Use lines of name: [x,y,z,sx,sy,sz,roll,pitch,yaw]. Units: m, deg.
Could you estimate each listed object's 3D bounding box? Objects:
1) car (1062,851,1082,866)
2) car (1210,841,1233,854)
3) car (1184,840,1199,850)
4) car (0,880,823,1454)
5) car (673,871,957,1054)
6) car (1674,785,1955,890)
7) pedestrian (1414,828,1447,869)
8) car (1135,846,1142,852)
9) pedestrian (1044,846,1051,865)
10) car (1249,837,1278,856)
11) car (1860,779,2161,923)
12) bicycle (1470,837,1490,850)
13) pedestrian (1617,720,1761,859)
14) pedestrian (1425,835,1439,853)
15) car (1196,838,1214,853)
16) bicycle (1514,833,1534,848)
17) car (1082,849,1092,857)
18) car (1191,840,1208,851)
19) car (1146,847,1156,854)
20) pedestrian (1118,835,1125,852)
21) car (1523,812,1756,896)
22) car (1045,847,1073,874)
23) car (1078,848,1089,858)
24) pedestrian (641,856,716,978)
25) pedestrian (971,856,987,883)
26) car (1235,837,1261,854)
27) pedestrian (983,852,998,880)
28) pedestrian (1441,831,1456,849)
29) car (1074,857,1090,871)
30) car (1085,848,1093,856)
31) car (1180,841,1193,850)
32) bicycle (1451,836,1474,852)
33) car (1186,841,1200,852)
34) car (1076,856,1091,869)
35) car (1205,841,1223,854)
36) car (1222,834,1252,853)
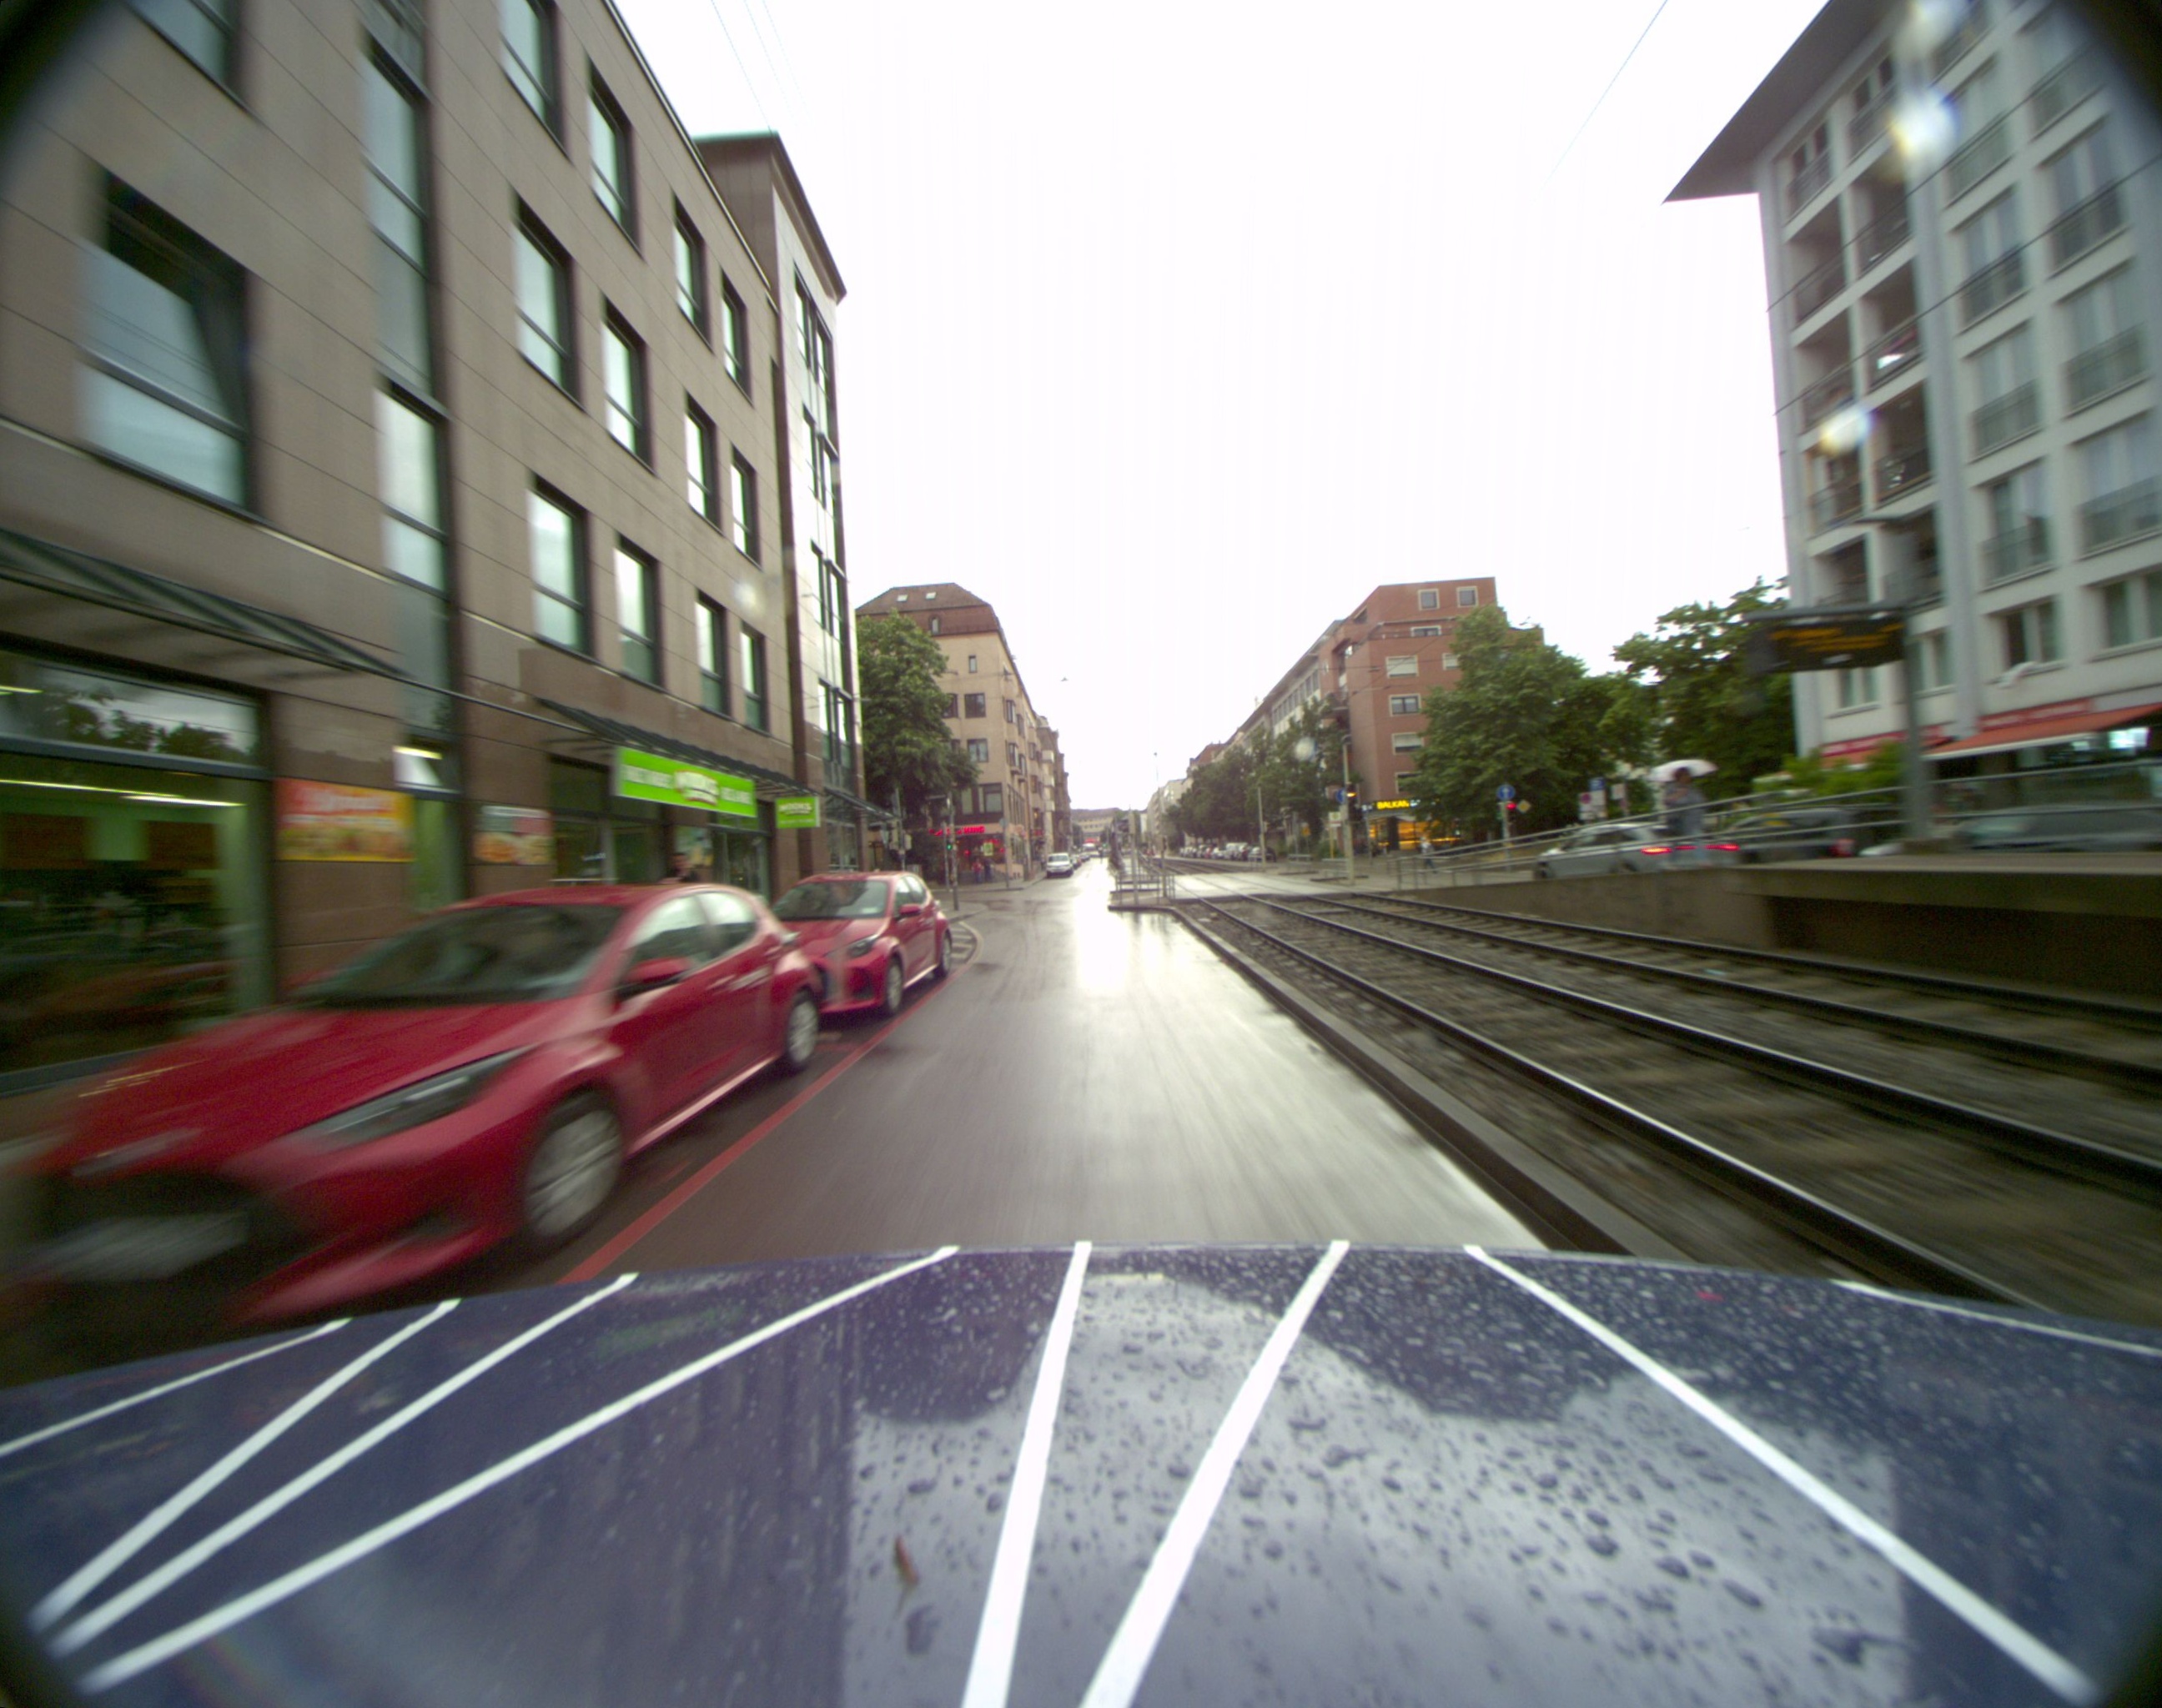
car: [-0.908,0.467,81.724,1.911,1.454,4.245,-4,1,1]
car: [16.741,-0.820,90.578,1.696,1.454,4.529,-4,1,-1]
car: [17.622,-1.424,121.435,1.662,1.575,4.337,-4,1,0]
car: [-2.972,0.989,4.129,1.703,1.454,3.866,-2,1,1]
car: [-2.717,1.029,8.783,1.702,1.471,3.867,-2,1,3]
car: [15.242,-0.321,16.192,1.711,1.847,4.320,-3,0,-1]
pedestrian: [15.250,-0.250,33.185,0.821,1.687,0.985,-5,1,-6]
car: [14.872,-1.369,196.654,1.643,1.330,3.734,-4,1,0]
pedestrian: [-3.310,0.168,75.343,0.530,1.848,0.556,-3,1,-6]
car: [16.577,-0.721,69.168,1.642,1.614,4.371,-4,1,2]
car: [14.670,-0.094,11.185,1.807,1.847,4.380,-3,0,-1]
bicycle: [24.635,-0.657,46.936,0.340,0.811,1.646,-3,1,2]
pedestrian: [9.582,-0.973,12.056,1.119,2.002,1.383,-3,1,2]
pedestrian: [23.572,-0.690,51.016,0.677,1.171,0.608,-3,1,7]
car: [17.043,-1.176,104.295,1.678,1.807,4.431,-4,1,1]
bicycle: [27.290,-0.811,46.823,0.340,0.898,1.647,-3,1,4]
car: [1.115,-0.284,141.702,1.588,1.343,3.977,-4,1,0]
car: [17.099,-1.197,109.917,1.643,1.432,4.729,-4,1,1]
car: [15.949,-0.778,172.275,1.696,1.454,4.529,-4,1,-1]
pedestrian: [3.889,-0.978,73.154,0.585,1.600,0.701,-3,1,-1]
car: [12.563,-0.022,17.631,1.811,1.569,5.021,-3,0,2]
car: [-1.619,0.436,57.577,1.911,1.796,4.776,-4,1,0]
car: [0.415,-0.166,123.932,1.628,1.343,3.829,-4,1,0]
pedestrian: [-5.693,0.868,10.767,0.603,1.650,0.625,-3,1,2]
pedestrian: [-6.587,0.994,48.957,0.723,1.640,0.627,-2,2,42]
car: [16.511,-0.817,75.224,1.642,1.527,4.371,-4,1,2]
pedestrian: [-5.975,0.798,50.216,0.665,1.809,0.597,-2,2,42]
pedestrian: [24.946,-0.943,51.606,0.679,1.171,0.607,-4,1,-30]
car: [0.088,1.105,88.405,1.649,1.454,3.414,-4,1,2]
car: [1.600,-0.431,156.379,1.588,1.443,3.977,-4,1,1]
car: [17.732,-1.380,127.302,1.718,1.367,4.457,-4,1,3]
bicycle: [23.586,-0.620,46.969,0.481,0.953,1.873,-3,1,2]
car: [16.922,-1.220,115.203,1.642,1.529,4.022,-4,1,2]
car: [0.316,1.084,96.315,1.720,1.454,3.445,-4,1,2]
car: [17.206,-0.817,98.698,1.643,1.530,3.803,-4,1,1]
car: [16.674,-1.111,81.491,1.912,1.834,5.255,-4,1,-2]
